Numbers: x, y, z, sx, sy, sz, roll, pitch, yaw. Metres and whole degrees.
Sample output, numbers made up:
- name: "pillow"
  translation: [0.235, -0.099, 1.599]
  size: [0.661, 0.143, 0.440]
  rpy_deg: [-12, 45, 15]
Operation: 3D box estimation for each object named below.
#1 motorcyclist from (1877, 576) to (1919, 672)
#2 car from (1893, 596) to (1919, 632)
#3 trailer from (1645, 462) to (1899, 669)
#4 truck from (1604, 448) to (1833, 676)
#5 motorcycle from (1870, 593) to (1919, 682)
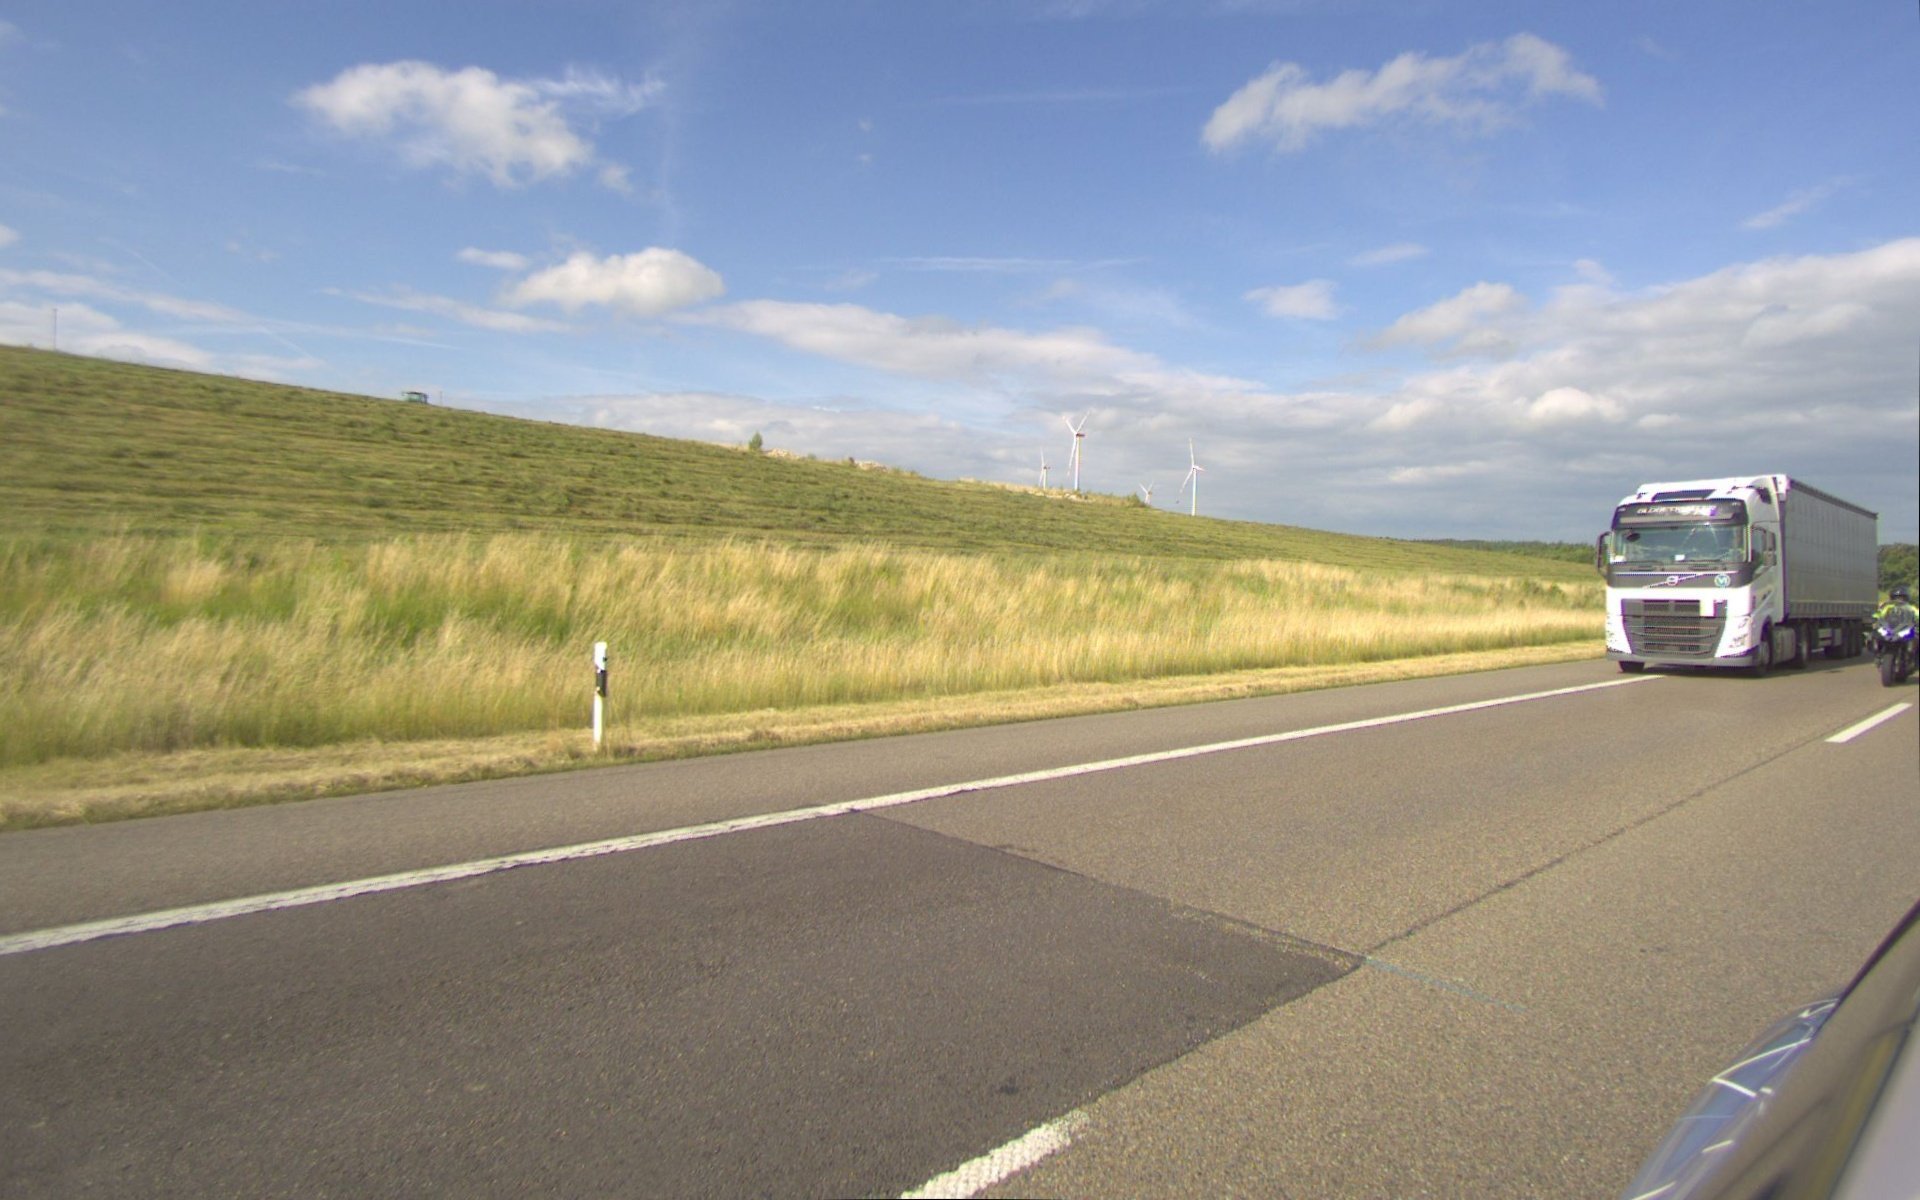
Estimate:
- name: "motorcyclist"
  translation: [16.732, 0.407, 17.705]
  size: [1.004, 1.637, 0.897]
  rpy_deg: [0, 1, -41]
- name: "car"
  translation: [40.884, 0.567, 42.622]
  size: [4.384, 1.435, 1.870]
  rpy_deg: [-1, 1, -41]
- name: "trailer"
  translation: [20.791, -0.693, 25.381]
  size: [13.458, 4.092, 2.621]
  rpy_deg: [0, 0, -41]
- name: "truck"
  translation: [15.921, -0.696, 21.100]
  size: [6.012, 4.092, 2.605]
  rpy_deg: [0, 0, -41]
- name: "motorcycle"
  translation: [16.704, 0.620, 17.707]
  size: [2.230, 1.474, 0.897]
  rpy_deg: [-1, 1, -41]
